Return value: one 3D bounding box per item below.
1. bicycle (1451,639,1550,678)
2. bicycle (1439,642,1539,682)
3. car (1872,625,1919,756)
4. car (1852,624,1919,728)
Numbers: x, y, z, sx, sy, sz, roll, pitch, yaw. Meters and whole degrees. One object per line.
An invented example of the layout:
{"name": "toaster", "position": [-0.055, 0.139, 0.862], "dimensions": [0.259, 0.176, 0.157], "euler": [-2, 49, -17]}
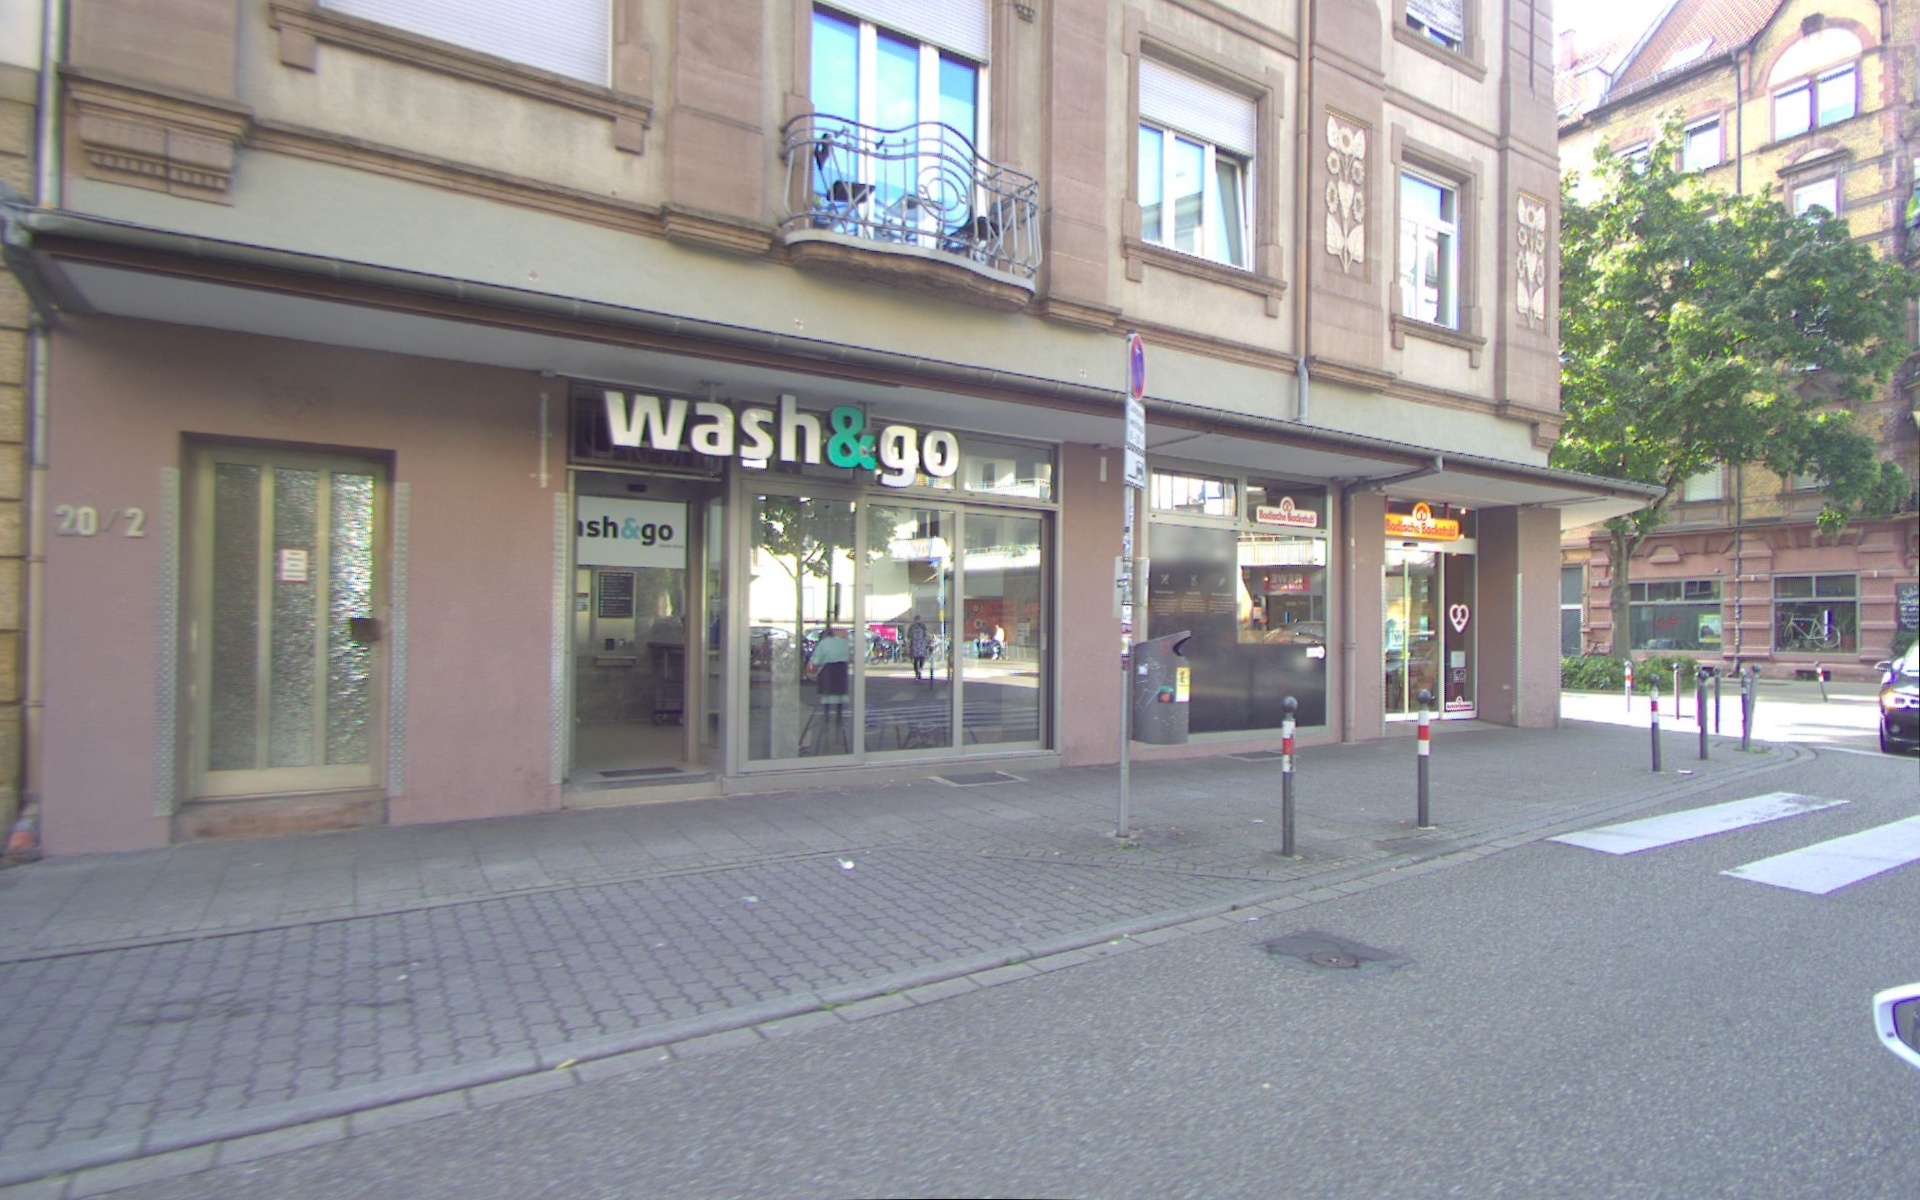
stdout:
{"name": "bicycle", "position": [17.531, 1.883, 32.668], "dimensions": [0.626, 1.213, 2.878], "euler": [1, -2, -34]}
{"name": "bicycle", "position": [16.934, 1.954, 32.246], "dimensions": [0.626, 1.206, 2.878], "euler": [1, -2, -34]}
{"name": "car", "position": [12.707, 1.097, 12.311], "dimensions": [4.178, 1.455, 1.735], "euler": [3, -1, -40]}
{"name": "car", "position": [18.467, 1.247, 17.492], "dimensions": [4.765, 1.744, 1.945], "euler": [-1, -2, -13]}
